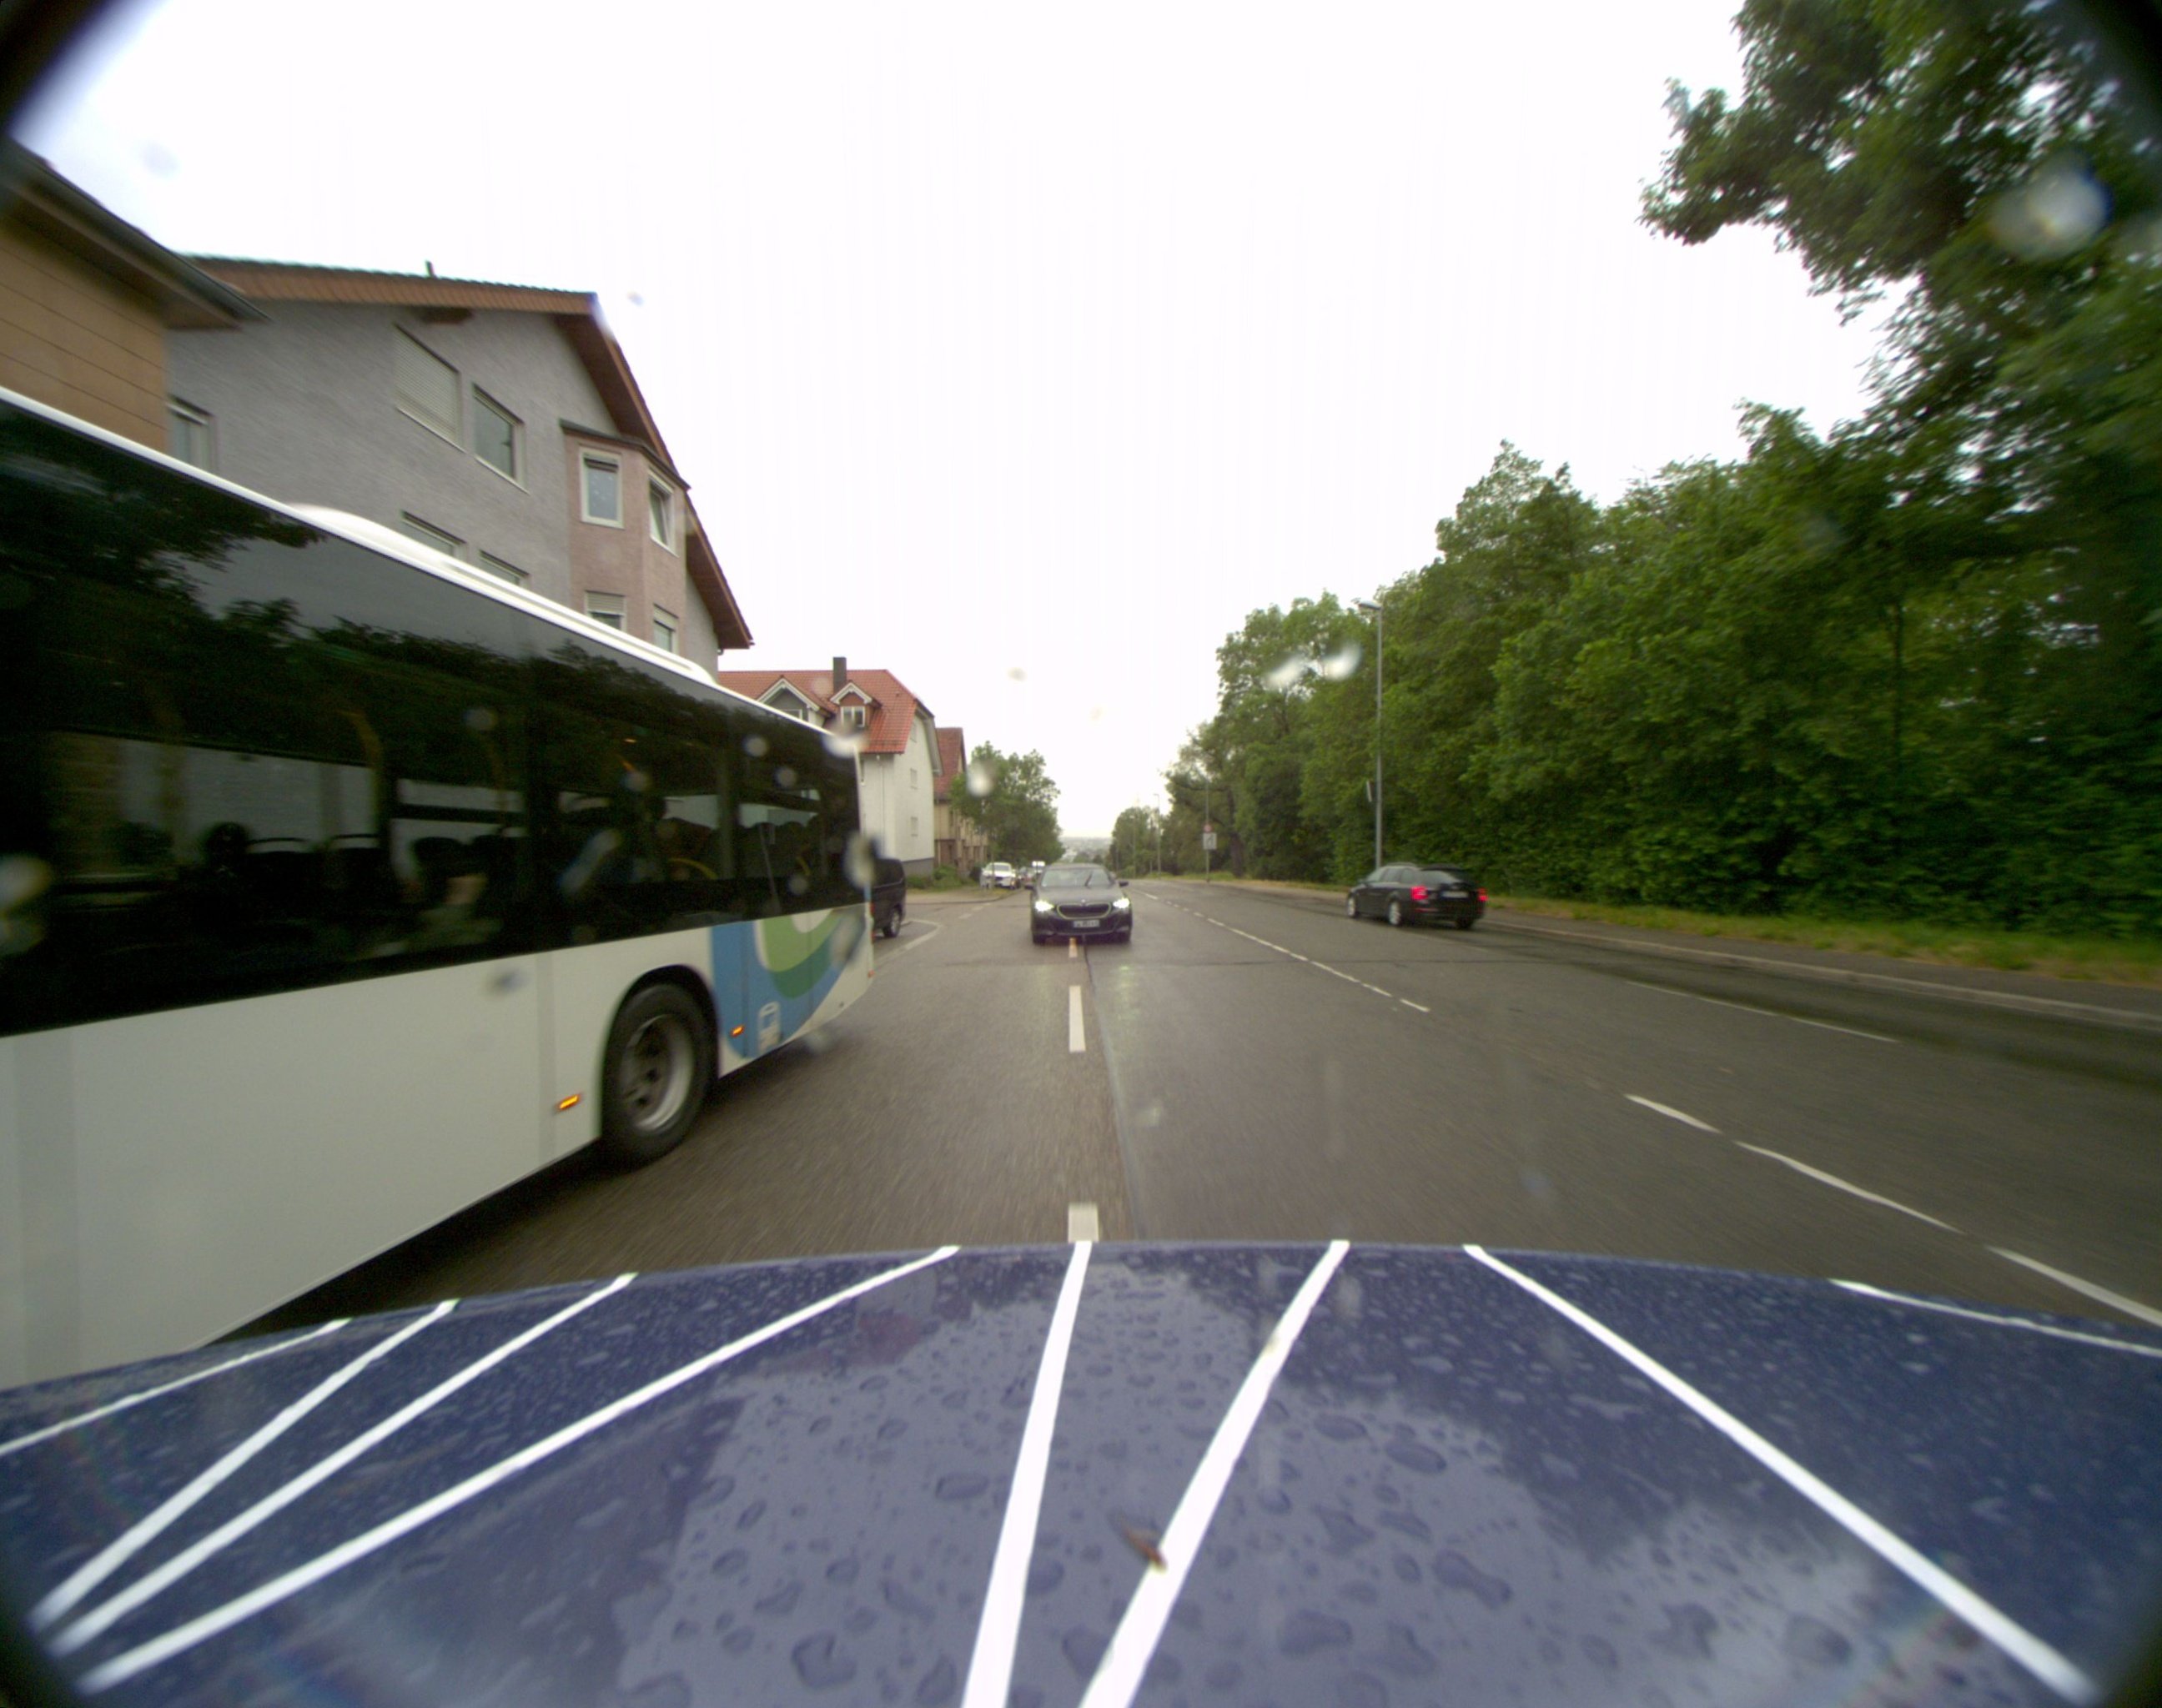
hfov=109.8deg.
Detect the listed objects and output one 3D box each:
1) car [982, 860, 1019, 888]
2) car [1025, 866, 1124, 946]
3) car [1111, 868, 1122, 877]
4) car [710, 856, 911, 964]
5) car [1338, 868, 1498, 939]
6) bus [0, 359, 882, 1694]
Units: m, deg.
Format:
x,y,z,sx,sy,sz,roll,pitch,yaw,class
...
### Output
x,y,z,sx,sy,sz,roll,pitch,yaw,class
-4.936,1.213,46.836,1.927,1.651,4.483,-1,-1,-2,car
-0.148,1.017,16.611,1.855,1.461,4.483,1,0,-1,car
6.674,3.484,143.106,1.891,1.587,4.363,0,0,0,car
-5.079,0.958,15.105,1.847,1.797,4.687,-1,0,7,car
7.787,1.074,18.083,1.748,1.423,4.388,1,0,-2,car
-3.560,0.397,3.180,2.561,2.942,8.560,-1,0,4,bus
